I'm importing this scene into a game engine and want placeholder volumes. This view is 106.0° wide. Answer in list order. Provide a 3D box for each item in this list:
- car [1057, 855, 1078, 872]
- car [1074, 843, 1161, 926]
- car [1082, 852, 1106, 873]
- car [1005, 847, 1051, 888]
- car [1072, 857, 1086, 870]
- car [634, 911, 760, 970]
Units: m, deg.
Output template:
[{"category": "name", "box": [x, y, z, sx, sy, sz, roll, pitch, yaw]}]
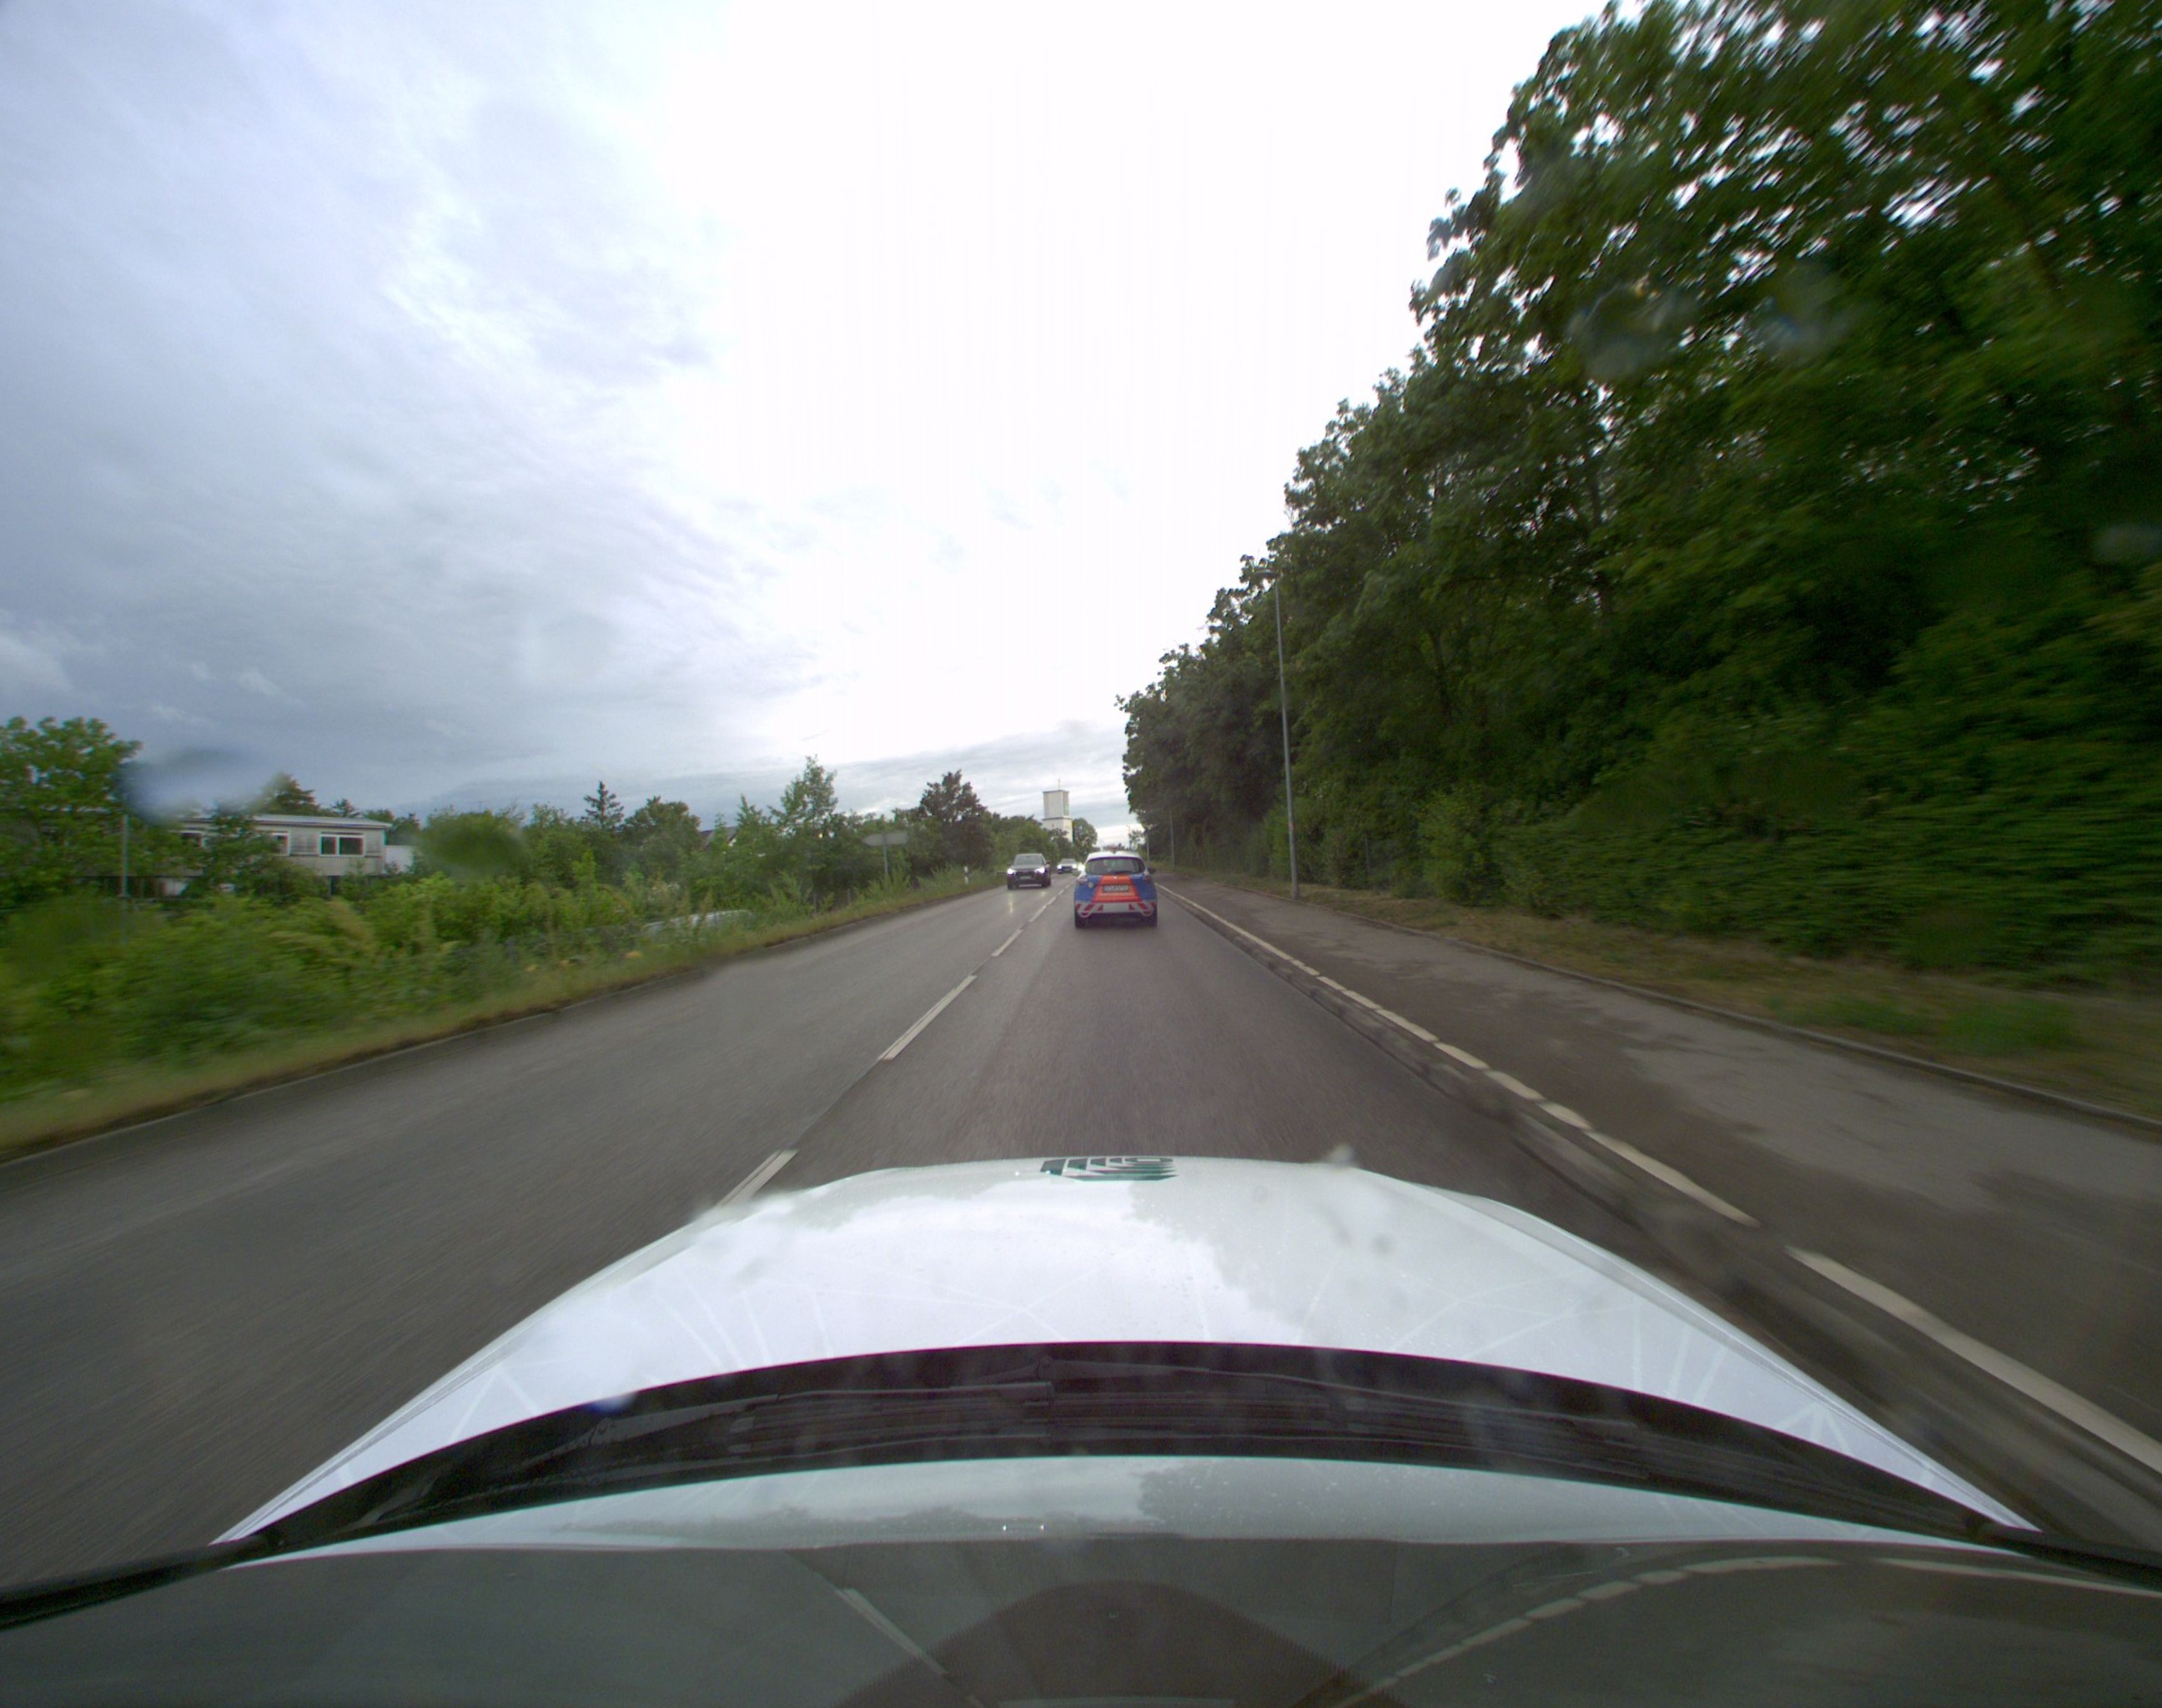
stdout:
[{"category": "car", "box": [-1.296, 0.932, 81.790, 1.855, 1.503, 4.729, -2, 0, 1]}, {"category": "car", "box": [0.767, 0.632, 17.849, 1.651, 1.593, 3.569, -2, -1, 1]}, {"category": "car", "box": [1.049, 0.695, 67.182, 1.796, 1.590, 3.563, -4, -1, 0]}, {"category": "car", "box": [-2.506, 0.596, 39.770, 1.862, 1.585, 4.416, 2, 4, 1]}, {"category": "car", "box": [-0.303, 1.243, 108.123, 1.724, 1.585, 4.081, -2, 0, 1]}, {"category": "car", "box": [-13.349, 2.975, 28.577, 1.640, 1.523, 4.083, -4, 0, 15]}]
